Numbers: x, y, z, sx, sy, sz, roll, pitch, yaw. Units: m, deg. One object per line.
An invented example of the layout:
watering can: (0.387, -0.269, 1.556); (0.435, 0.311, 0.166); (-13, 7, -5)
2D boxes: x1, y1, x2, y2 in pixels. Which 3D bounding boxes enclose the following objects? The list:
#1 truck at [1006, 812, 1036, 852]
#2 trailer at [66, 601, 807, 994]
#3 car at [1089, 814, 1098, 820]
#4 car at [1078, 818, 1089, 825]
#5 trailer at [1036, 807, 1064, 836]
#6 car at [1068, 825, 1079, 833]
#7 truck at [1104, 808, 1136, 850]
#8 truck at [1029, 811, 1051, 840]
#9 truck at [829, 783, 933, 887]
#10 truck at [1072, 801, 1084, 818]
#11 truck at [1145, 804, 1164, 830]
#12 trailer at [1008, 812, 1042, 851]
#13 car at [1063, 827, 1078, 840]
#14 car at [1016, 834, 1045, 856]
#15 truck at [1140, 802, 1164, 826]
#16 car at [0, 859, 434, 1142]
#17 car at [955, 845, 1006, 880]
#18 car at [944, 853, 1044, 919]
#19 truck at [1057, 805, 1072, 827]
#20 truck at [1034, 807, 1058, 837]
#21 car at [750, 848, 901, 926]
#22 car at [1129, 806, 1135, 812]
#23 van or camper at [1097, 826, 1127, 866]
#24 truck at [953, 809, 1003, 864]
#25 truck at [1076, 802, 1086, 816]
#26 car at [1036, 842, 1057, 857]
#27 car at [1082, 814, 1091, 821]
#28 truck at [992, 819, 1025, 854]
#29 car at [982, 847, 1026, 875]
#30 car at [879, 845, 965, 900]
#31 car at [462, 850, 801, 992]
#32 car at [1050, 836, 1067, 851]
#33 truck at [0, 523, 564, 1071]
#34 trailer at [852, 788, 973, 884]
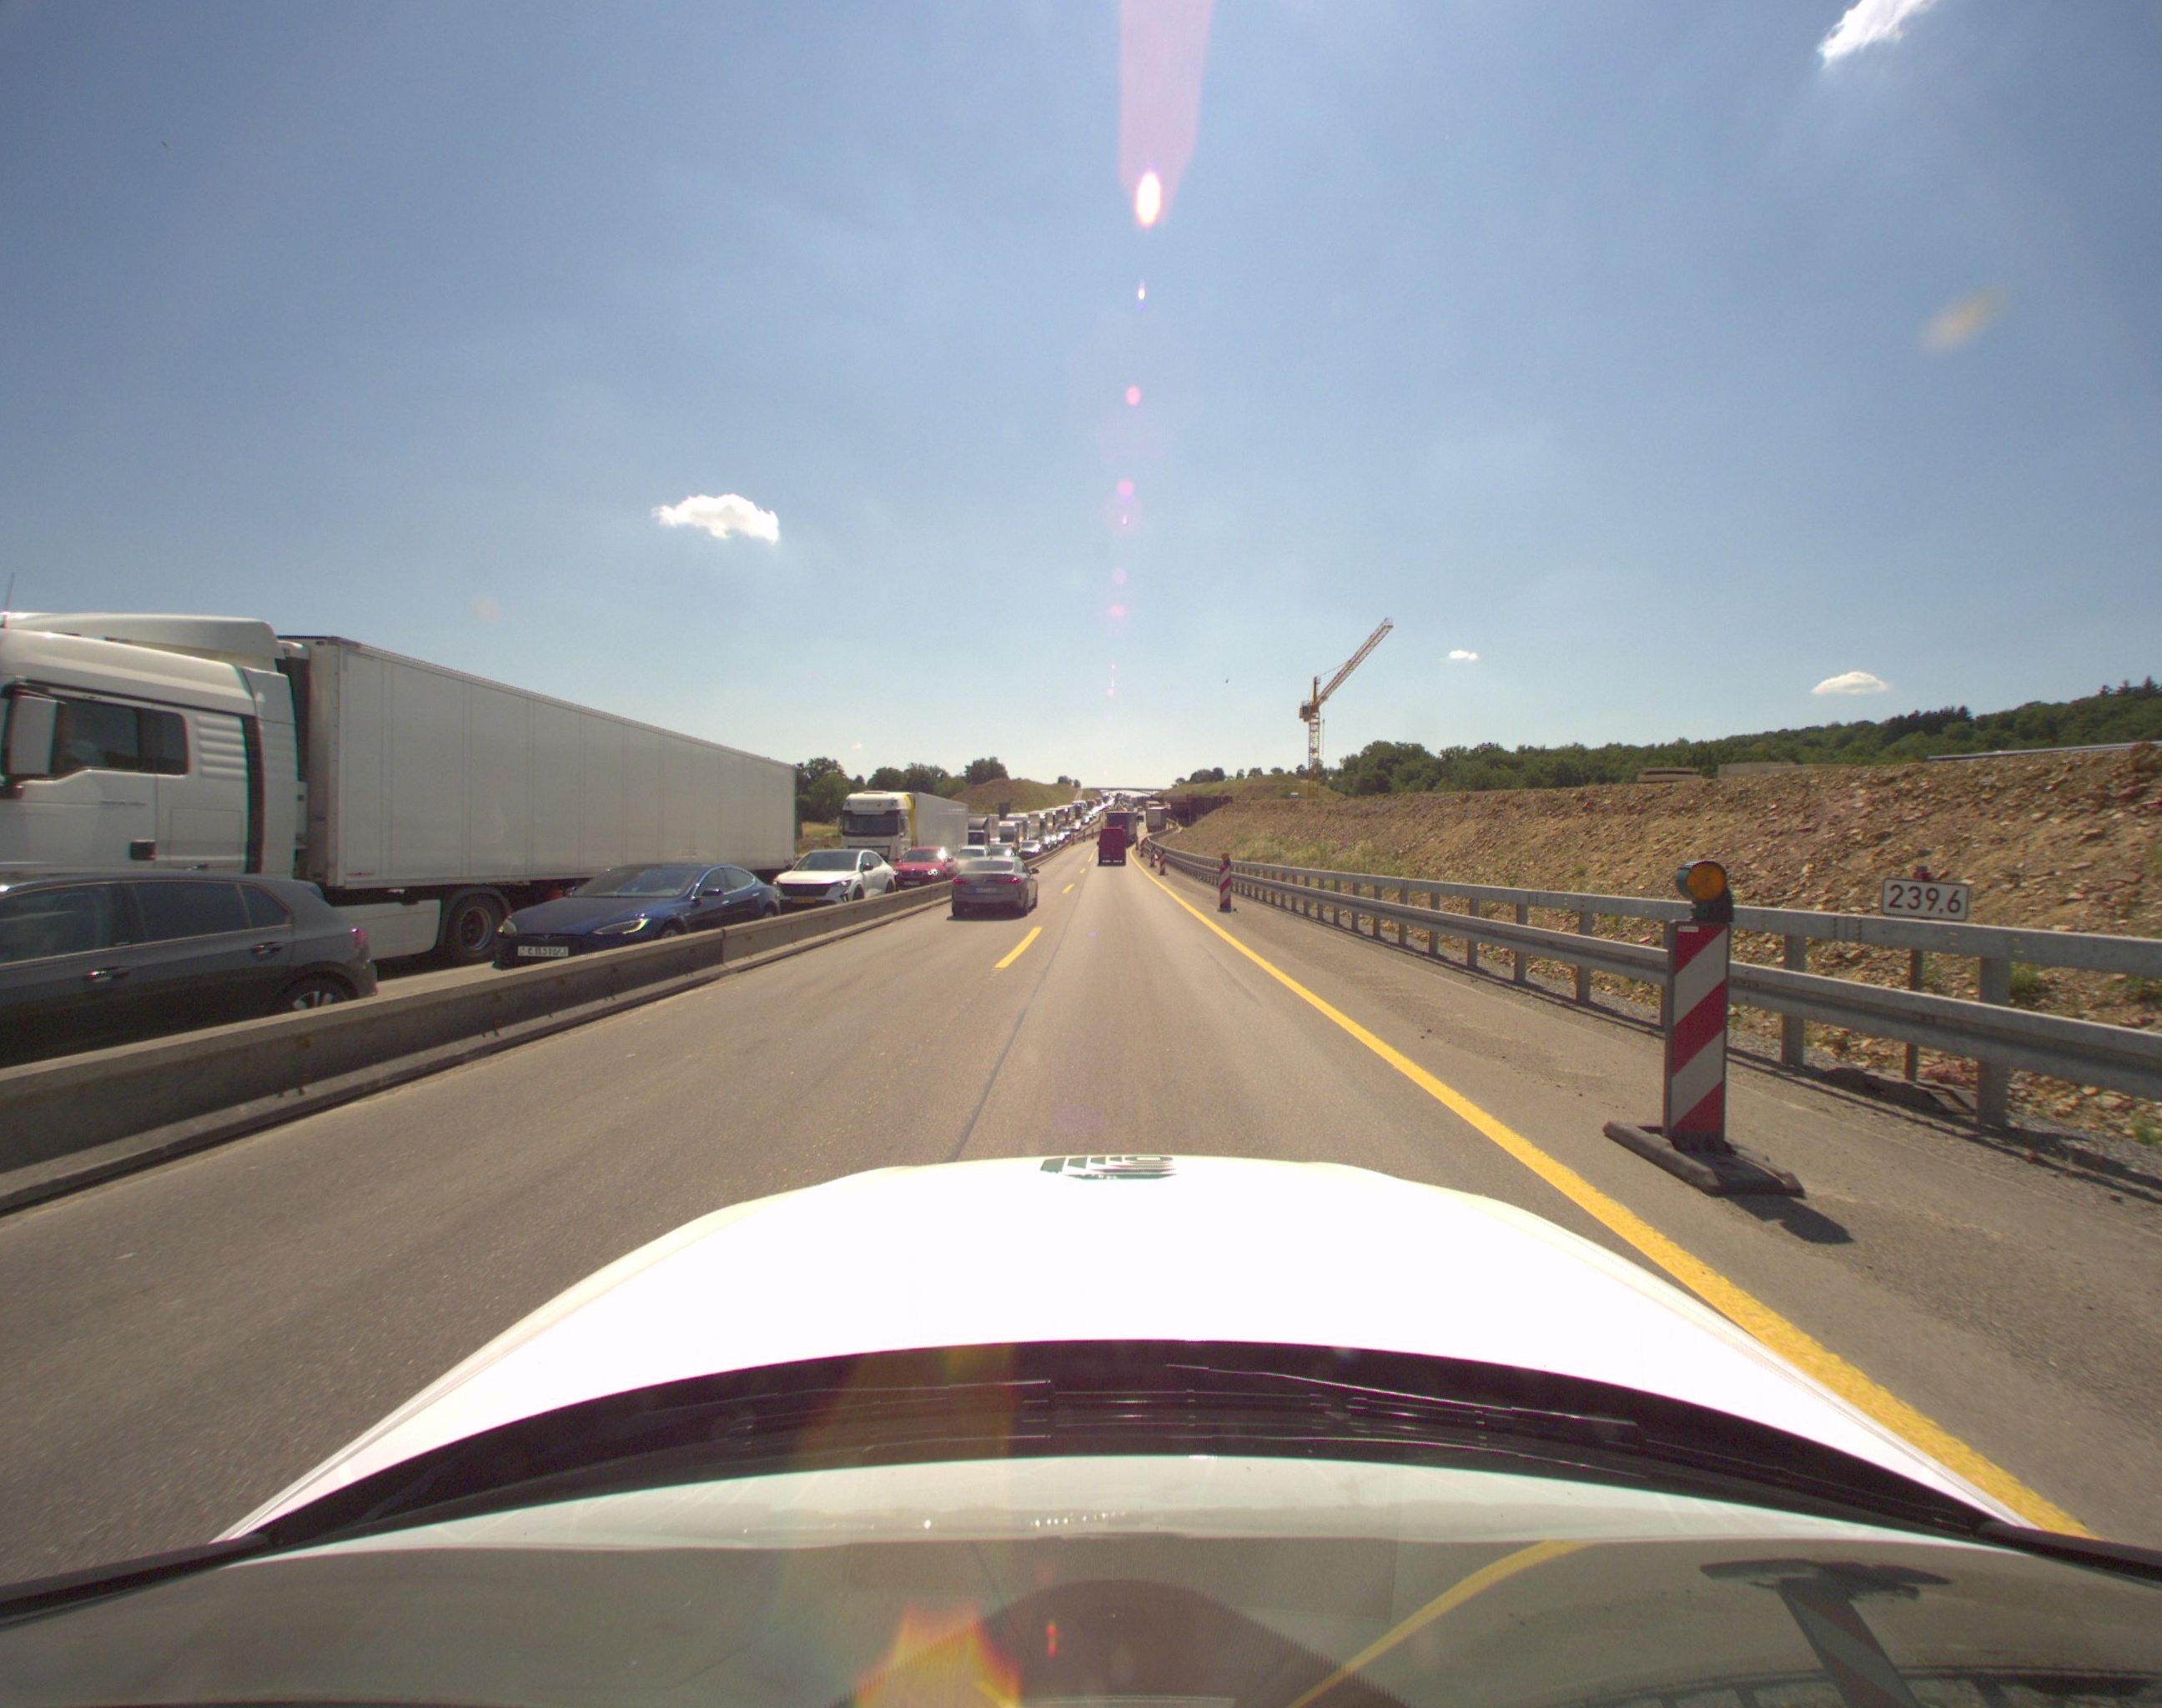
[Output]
truck: (-6.551, -2.447, 89.336); (2.541, 4.230, 6.534); (0, 2, 2)
trailer: (-9.584, -0.729, 16.160); (3.129, 4.383, 14.084); (0, 1, 2)
car: (3.159, -9.330, 204.757); (1.945, 1.530, 4.270); (0, 1, 2)
car: (0.541, -6.702, 168.668); (1.945, 1.530, 4.270); (0, 1, 2)
trailer: (-4.936, -5.223, 132.335); (3.028, 4.551, 12.145); (0, 2, 5)
car: (-1.331, -4.304, 141.484); (1.740, 1.409, 4.003); (0, 1, 2)
truck: (4.723, -2.947, 96.818); (3.003, 4.692, 6.949); (-2, 2, 8)
truck: (-5.596, -3.875, 111.888); (2.773, 3.869, 5.461); (0, 0, 1)
truck: (-8.575, -0.805, 35.649); (2.967, 4.184, 5.875); (0, 1, 1)
truck: (-0.627, -11.090, 203.201); (2.878, 3.838, 8.002); (0, 1, 0)
truck: (12.809, -6.402, 141.037); (3.022, 4.100, 7.100); (-1, 0, 7)
trailer: (-6.354, -2.581, 94.412); (2.584, 4.256, 12.476); (0, 1, 2)
car: (-1.480, -2.996, 118.016); (1.986, 1.782, 4.001); (0, 1, 1)
car: (-4.166, -0.713, 67.800); (1.820, 1.651, 4.548); (-5, 0, 2)
truck: (16.525, -9.117, 189.243); (5.136, 4.996, 13.897); (-2, 1, 5)
car: (-6.476, 0.774, 4.599); (1.826, 1.423, 4.684); (0, 0, 1)
car: (-4.712, 0.380, 38.709); (1.820, 1.574, 4.001); (0, 0, 1)
car: (-2.070, 0.718, 20.742); (1.844, 1.452, 4.745); (0, 1, 2)
truck: (-3.016, -7.148, 153.919); (2.674, 3.838, 7.387); (0, 1, 0)
truck: (-5.418, -5.027, 126.898); (3.037, 4.479, 5.990); (0, 3, 5)
car: (-5.880, 0.677, 19.474); (1.986, 1.620, 4.883); (-1, 0, 1)
car: (15.973, -13.960, 255.260); (1.945, 1.641, 4.269); (0, 0, 2)
van or camper: (2.215, -0.637, 58.725); (2.022, 2.744, 4.516); (0, 2, 0)
truck: (-7.614, -1.336, 61.239); (2.516, 3.855, 8.674); (0, 1, 1)
truck: (0.005, -13.420, 244.233); (2.878, 3.838, 8.002); (0, 1, 0)
car: (-3.562, -0.441, 84.414); (1.820, 1.535, 4.548); (0, 0, 2)
car: (1.345, -8.552, 188.515); (1.945, 1.530, 4.270); (0, 1, 2)
truck: (-6.764, -1.683, 76.856); (2.425, 3.147, 7.025); (-1, 2, 1)
car: (-4.599, 0.412, 49.190); (1.985, 1.557, 4.342); (-1, 0, 3)
car: (-5.442, 0.564, 28.562); (1.986, 1.631, 4.760); (1, 2, 1)
car: (-5.893, 0.732, 11.626); (1.805, 1.437, 5.125); (1, 2, 2)
car: (-2.896, -1.355, 105.028); (1.986, 1.783, 3.999); (0, -3, 1)
truck: (-9.751, -0.503, 9.434); (3.086, 4.197, 6.704); (0, 1, 1)
trailer: (-8.356, -0.896, 42.827); (2.974, 4.208, 13.953); (0, 1, 2)
